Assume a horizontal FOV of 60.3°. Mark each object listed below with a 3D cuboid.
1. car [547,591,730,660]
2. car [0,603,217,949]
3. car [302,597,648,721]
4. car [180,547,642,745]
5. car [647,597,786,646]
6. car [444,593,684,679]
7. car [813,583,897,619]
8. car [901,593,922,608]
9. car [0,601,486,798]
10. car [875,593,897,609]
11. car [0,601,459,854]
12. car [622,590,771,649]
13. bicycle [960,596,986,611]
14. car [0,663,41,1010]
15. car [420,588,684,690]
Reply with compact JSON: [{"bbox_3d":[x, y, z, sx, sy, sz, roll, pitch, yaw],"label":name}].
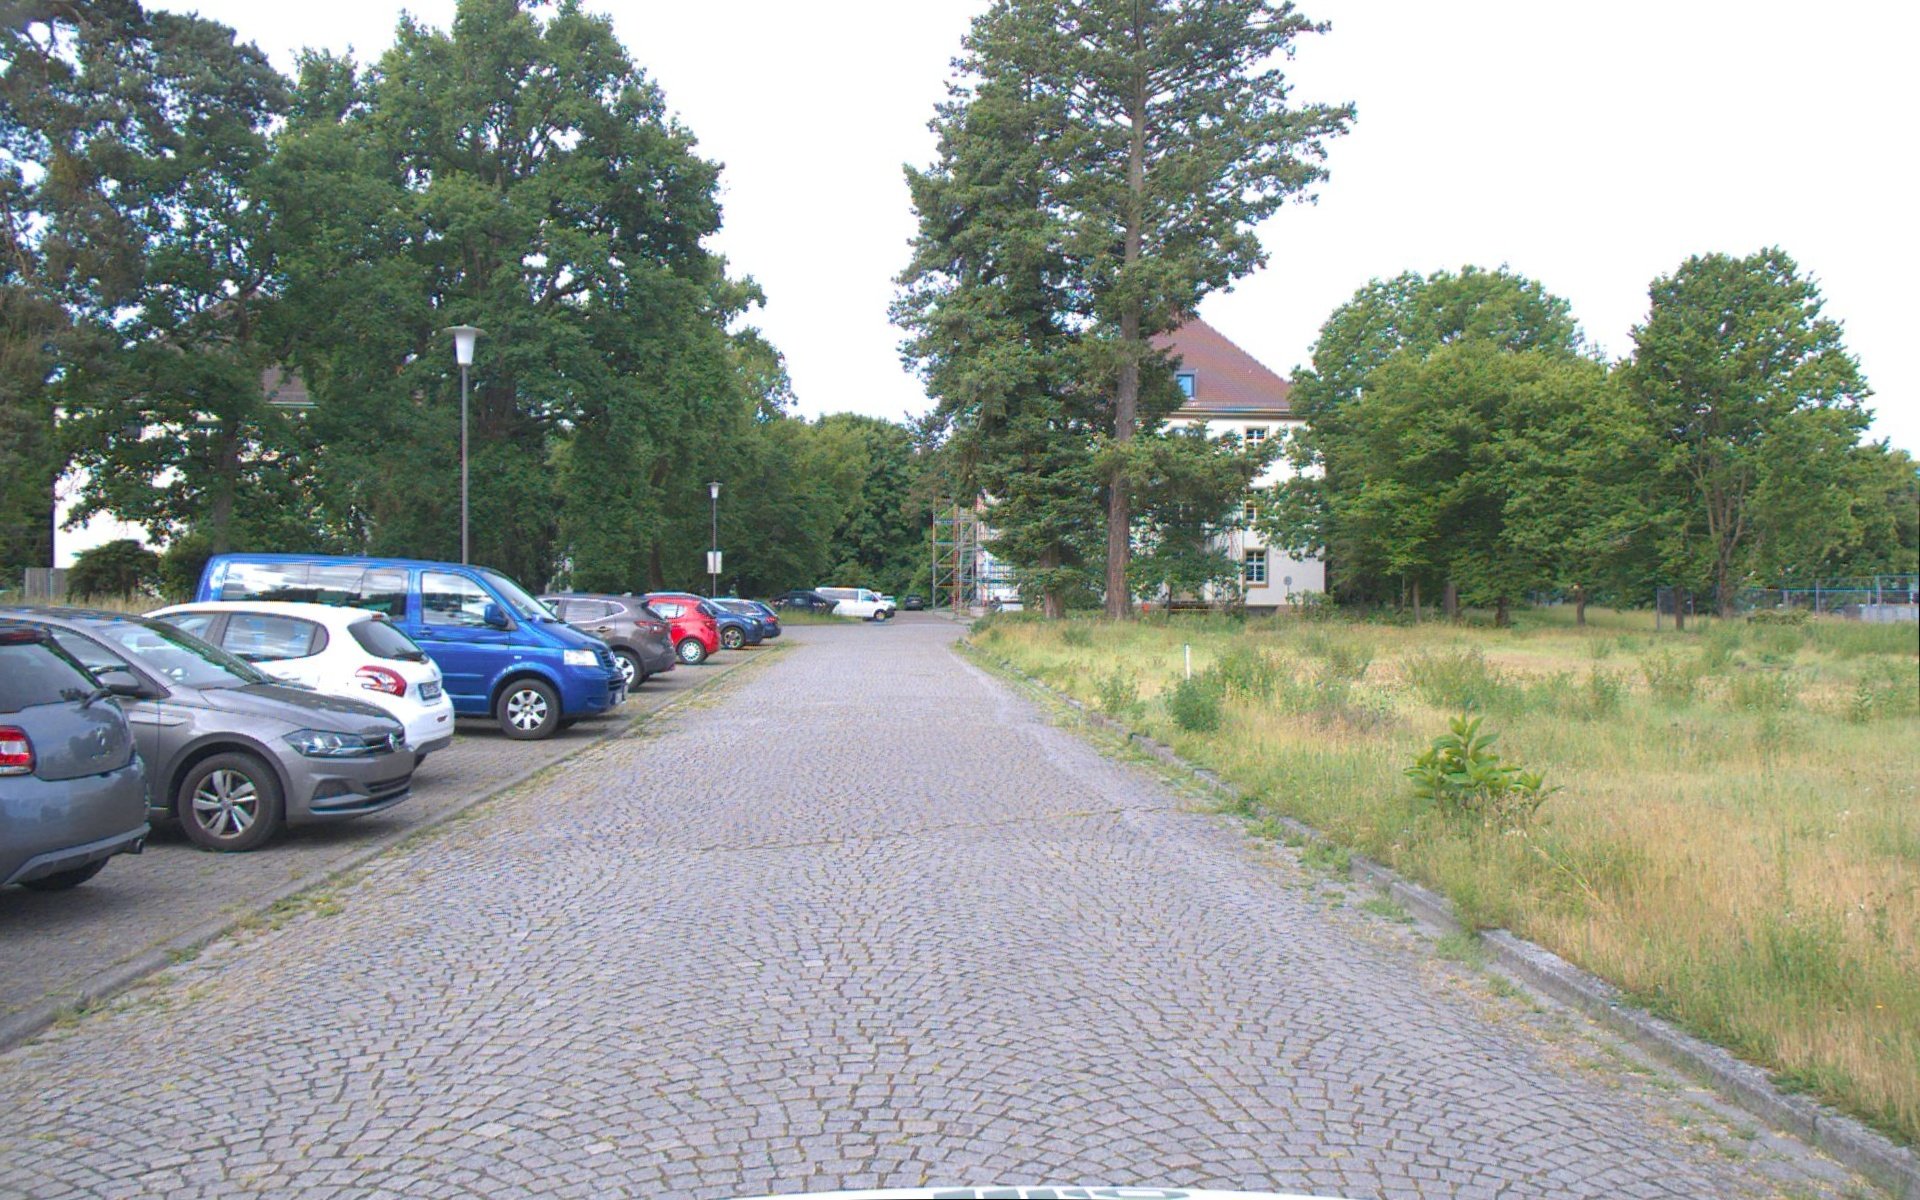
[{"bbox_3d":[-7.401,0.572,38.411,3.975,1.552,1.903,0,0,-5],"label":"car"},{"bbox_3d":[-6.120,0.781,8.138,4.082,1.508,1.845,0,0,-2],"label":"car"},{"bbox_3d":[-6.281,0.736,21.794,4.085,1.536,1.779,0,0,-5],"label":"car"},{"bbox_3d":[-6.201,0.491,19.206,4.687,2.159,2.114,0,0,-4],"label":"car"},{"bbox_3d":[-7.815,0.683,53.373,4.216,1.486,1.974,1,0,-2],"label":"car"},{"bbox_3d":[-7.292,0.644,30.778,4.084,1.536,1.906,0,0,-5],"label":"car"},{"bbox_3d":[-6.526,0.088,102.317,5.133,2.206,1.998,0,0,-6],"label":"car"},{"bbox_3d":[-4.949,0.076,168.767,1.913,1.548,3.996,0,0,-4],"label":"car"},{"bbox_3d":[-6.232,0.780,13.906,3.986,1.523,1.845,0,0,-2],"label":"car"},{"bbox_3d":[-7.555,0.093,168.323,2.077,1.548,3.997,0,0,-4],"label":"car"},{"bbox_3d":[-5.645,0.775,10.961,4.082,1.517,1.864,0,0,-2],"label":"car"},{"bbox_3d":[-7.704,0.565,48.676,4.145,1.604,1.885,1,0,-5],"label":"car"},{"bbox_3d":[1.128,0.290,141.560,2.195,1.276,0.634,0,0,-1],"label":"bicycle"},{"bbox_3d":[-5.628,0.902,5.508,4.082,1.289,1.830,0,0,-2],"label":"car"},{"bbox_3d":[-6.823,0.632,28.062,4.085,1.650,1.984,0,0,-6],"label":"car"}]
